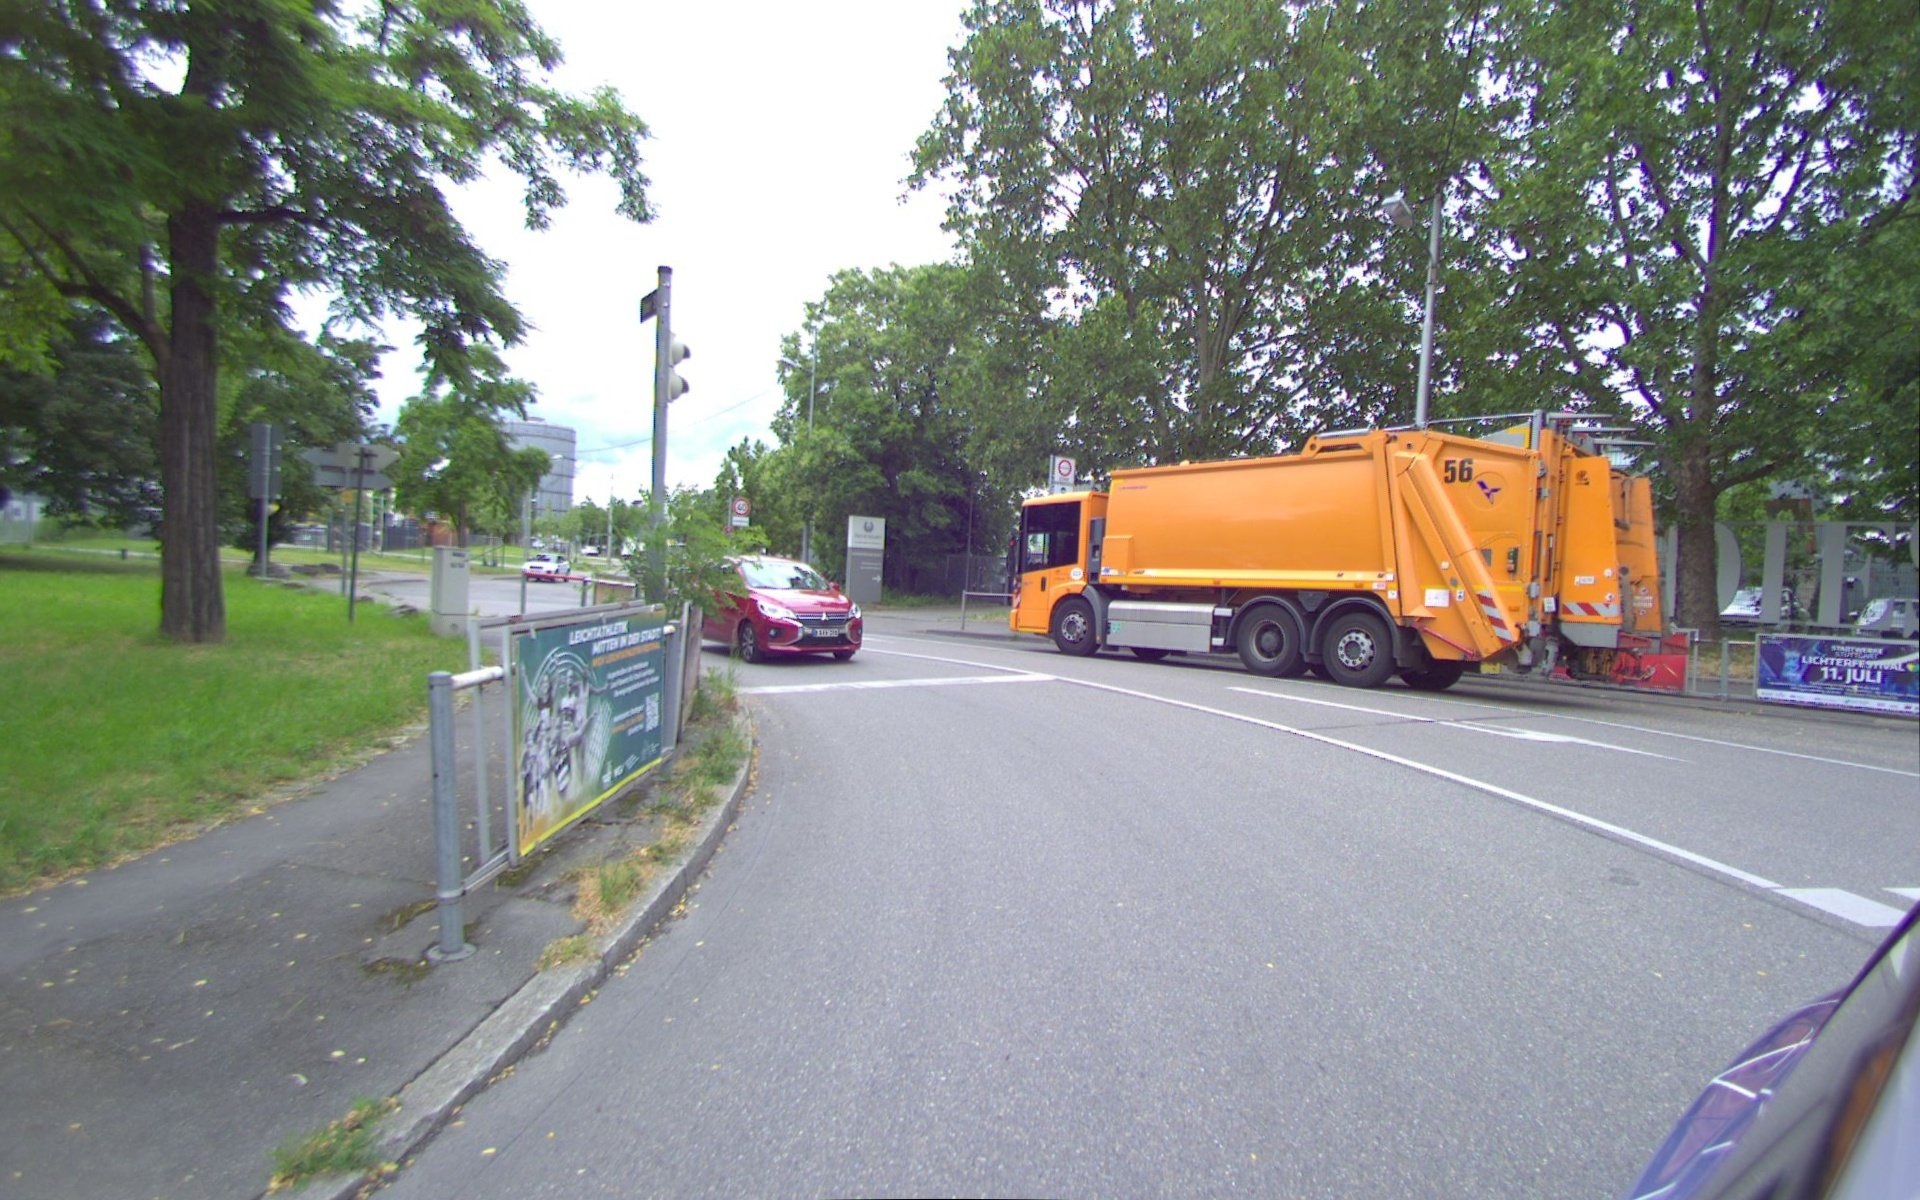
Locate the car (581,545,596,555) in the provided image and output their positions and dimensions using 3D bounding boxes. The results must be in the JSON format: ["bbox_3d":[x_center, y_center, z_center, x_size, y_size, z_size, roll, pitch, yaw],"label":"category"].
[{"bbox_3d":[-63.017,-8.526,171.577,2.005,1.555,3.950,4,1,-26],"label":"car"}]

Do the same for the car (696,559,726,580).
[{"bbox_3d":[-18.858,-2.310,76.787,1.682,1.424,3.376,3,1,-6],"label":"car"}]

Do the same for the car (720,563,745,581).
[{"bbox_3d":[-19.762,-2.435,88.095,1.682,1.424,3.376,3,1,-6],"label":"car"}]

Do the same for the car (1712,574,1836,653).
[{"bbox_3d":[19.082,0.332,23.652,4.244,1.633,1.589,2,2,-43],"label":"car"}]

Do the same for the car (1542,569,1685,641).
[{"bbox_3d":[17.106,0.161,26.423,4.445,1.633,1.882,3,2,-41],"label":"car"}]

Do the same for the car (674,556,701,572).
[{"bbox_3d":[-30.551,-4.063,113.544,2.006,1.555,3.949,2,2,-29],"label":"car"}]

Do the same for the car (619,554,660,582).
[{"bbox_3d":[-21.773,-2.159,68.867,1.812,1.656,4.191,4,0,-7],"label":"car"}]

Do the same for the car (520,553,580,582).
[{"bbox_3d":[-23.746,-1.914,58.748,2.008,1.554,3.947,0,3,-3],"label":"car"}]

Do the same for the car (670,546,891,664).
[{"bbox_3d":[-2.777,-0.016,15.033,1.701,1.483,3.835,0,3,-36],"label":"car"}]

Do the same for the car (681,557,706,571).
[{"bbox_3d":[-29.936,-4.059,113.732,2.006,1.554,3.950,-1,4,-26],"label":"car"}]

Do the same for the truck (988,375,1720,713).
[{"bbox_3d":[4.946,-0.761,15.605,2.748,3.570,10.412,2,1,-40],"label":"truck"}]

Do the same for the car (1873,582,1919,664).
[{"bbox_3d":[20.873,0.542,21.636,3.932,1.633,1.589,2,2,-43],"label":"car"}]

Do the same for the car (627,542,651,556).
[{"bbox_3d":[-39.552,-6.321,124.608,2.006,1.555,3.949,2,2,-29],"label":"car"}]
